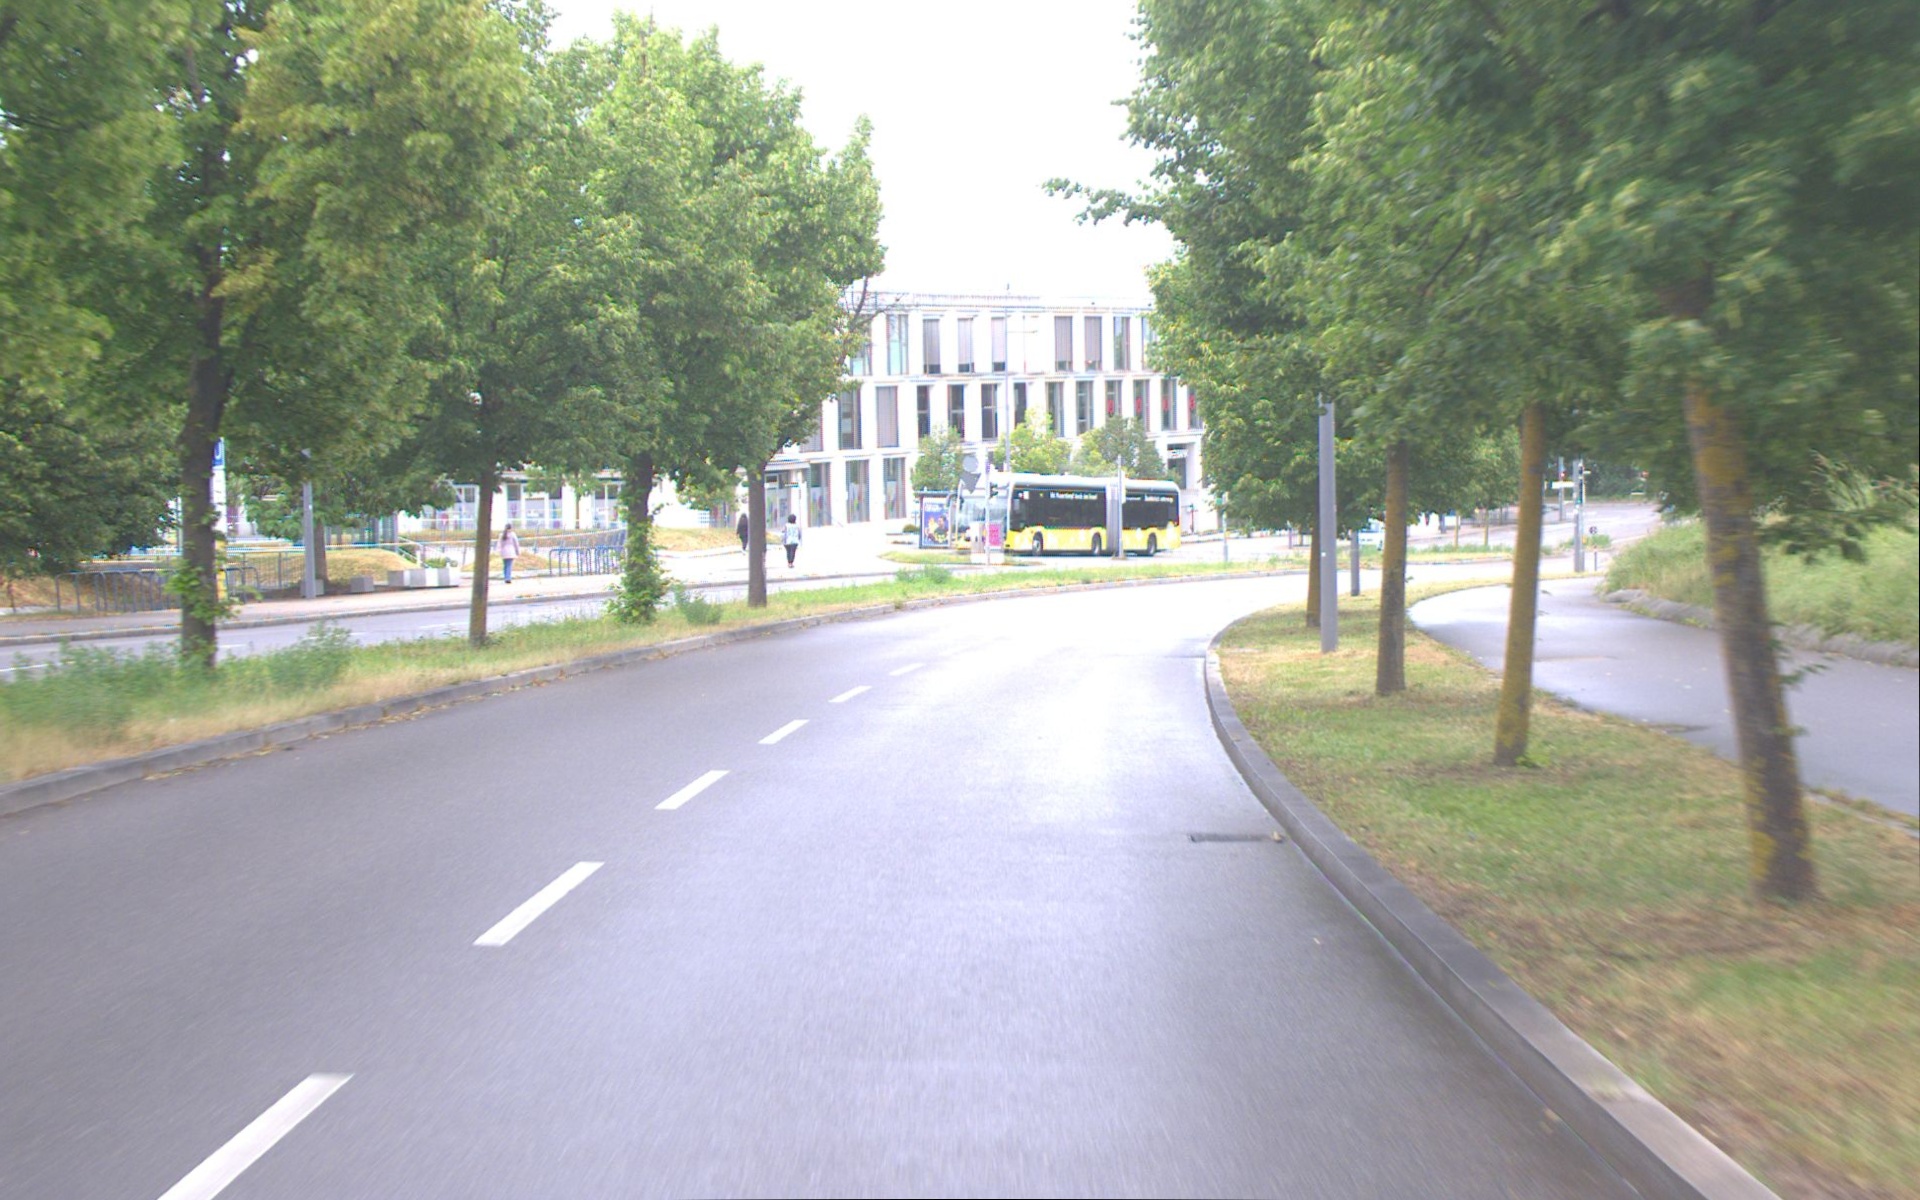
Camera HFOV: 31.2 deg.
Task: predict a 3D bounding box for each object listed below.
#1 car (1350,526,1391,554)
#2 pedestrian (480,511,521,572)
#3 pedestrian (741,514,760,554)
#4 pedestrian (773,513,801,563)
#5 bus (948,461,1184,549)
[{"bbox_3d":[22.253,-3.254,186.230,1.480,1.489,2.527,0,0,25],"label":"car"},{"bbox_3d":[-12.142,-1.540,90.931,0.814,1.615,0.935,0,0,12],"label":"pedestrian"},{"bbox_3d":[-7.974,-2.504,130.779,0.682,1.519,0.719,0,0,1],"label":"pedestrian"},{"bbox_3d":[-5.434,-1.949,108.095,0.834,1.568,0.719,0,0,-5],"label":"pedestrian"},{"bbox_3d":[4.800,-3.952,147.306,2.789,3.345,18.200,0,0,26],"label":"bus"}]
